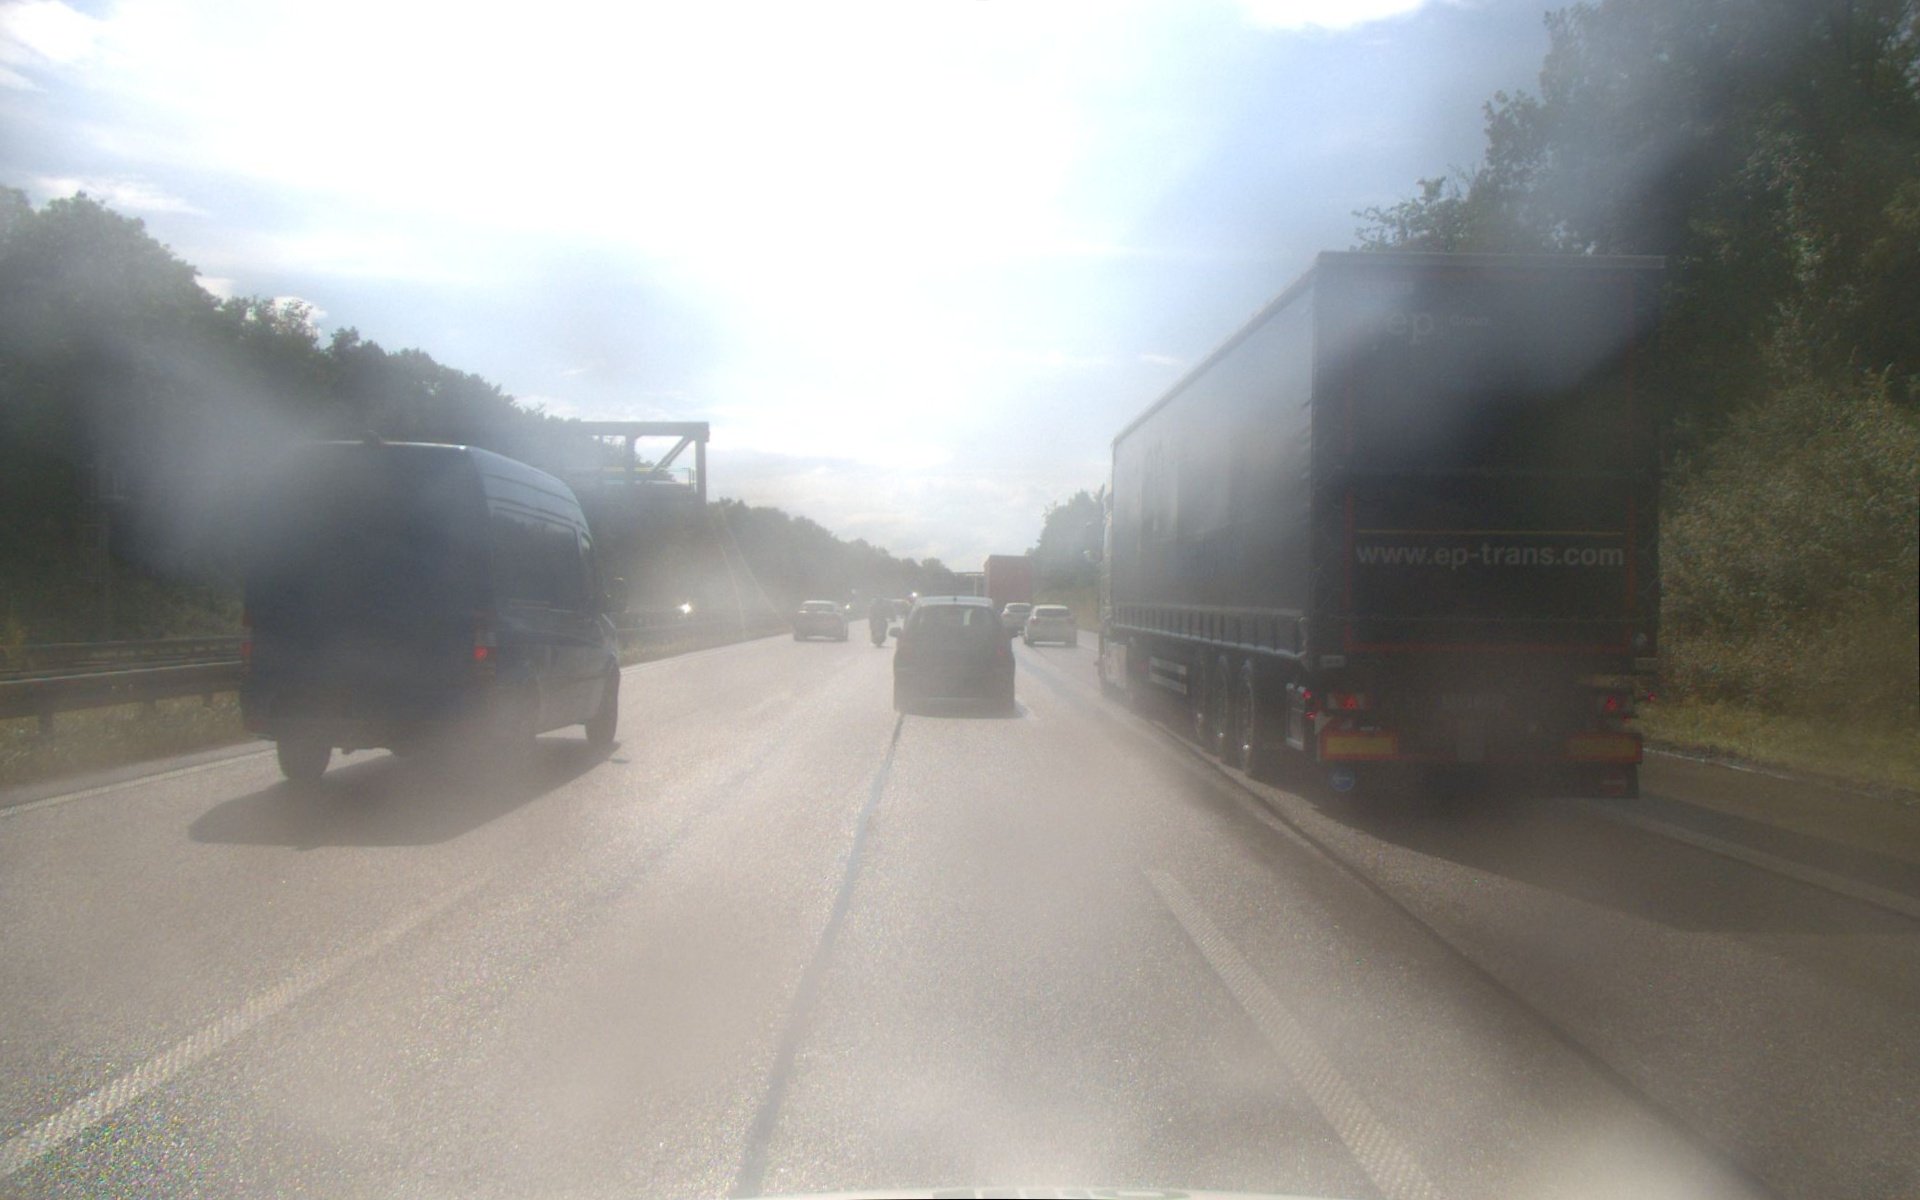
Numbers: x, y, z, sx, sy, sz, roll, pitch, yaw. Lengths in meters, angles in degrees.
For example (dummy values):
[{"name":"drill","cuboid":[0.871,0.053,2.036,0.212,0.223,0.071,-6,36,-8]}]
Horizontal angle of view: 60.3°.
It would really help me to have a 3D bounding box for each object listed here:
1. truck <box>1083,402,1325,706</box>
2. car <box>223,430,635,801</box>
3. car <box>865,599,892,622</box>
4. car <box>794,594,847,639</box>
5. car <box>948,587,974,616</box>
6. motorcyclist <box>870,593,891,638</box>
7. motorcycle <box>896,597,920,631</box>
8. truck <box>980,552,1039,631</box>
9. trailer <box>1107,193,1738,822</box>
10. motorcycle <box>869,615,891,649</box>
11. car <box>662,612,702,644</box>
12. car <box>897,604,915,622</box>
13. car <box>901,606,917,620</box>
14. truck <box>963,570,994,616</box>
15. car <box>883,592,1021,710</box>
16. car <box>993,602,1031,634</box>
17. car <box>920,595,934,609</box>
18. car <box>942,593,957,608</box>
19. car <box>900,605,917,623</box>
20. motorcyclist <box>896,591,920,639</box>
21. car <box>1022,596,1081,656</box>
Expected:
[{"name":"truck","cuboid":[3.795,-0.645,27.153,2.990,4.401,5.885,1,-1,-1]},{"name":"car","cuboid":[-4.451,0.123,15.011,1.975,2.695,5.775,1,0,-1]},{"name":"car","cuboid":[-5.954,0.763,121.717,1.854,1.656,4.193,1,0,-2]},{"name":"car","cuboid":[-5.207,0.611,62.265,1.723,1.622,4.329,1,0,-1]},{"name":"car","cuboid":[0.057,0.115,112.753,1.641,1.970,3.772,1,0,-2]},{"name":"motorcyclist","cuboid":[-2.644,0.504,54.890,0.657,1.467,1.019,1,-1,-5]},{"name":"motorcycle","cuboid":[-2.006,0.525,63.461,0.804,1.285,2.115,1,0,-5]},{"name":"truck","cuboid":[2.907,-0.459,99.565,3.137,4.481,9.430,1,0,-1]},{"name":"trailer","cuboid":[3.886,-0.630,18.690,3.025,4.388,14.102,1,0,-1]},{"name":"motorcycle","cuboid":[-2.652,1.051,54.944,0.662,1.106,1.980,1,0,-4]},{"name":"car","cuboid":[-18.554,1.864,110.673,1.953,2.049,4.731,1,-1,-1]},{"name":"car","cuboid":[-4.926,1.203,151.087,1.641,1.625,3.435,1,0,-2]},{"name":"car","cuboid":[-5.436,1.358,176.864,1.641,1.516,3.435,1,0,-2]},{"name":"truck","cuboid":[1.949,-0.711,179.774,2.823,4.770,12.655,1,-1,-1]},{"name":"car","cuboid":[-0.158,0.703,24.801,1.876,1.592,4.312,1,0,-2]},{"name":"car","cuboid":[2.473,0.850,79.661,1.641,1.516,3.435,1,0,-2]},{"name":"car","cuboid":[-4.839,0.317,239.973,1.953,2.049,3.999,1,-1,-2]},{"name":"car","cuboid":[-1.118,0.067,174.958,1.599,1.516,3.435,1,0,-2]},{"name":"car","cuboid":[-6.087,1.654,196.701,1.953,2.049,3.999,1,-1,-2]},{"name":"motorcyclist","cuboid":[-2.007,0.566,63.436,0.805,1.791,1.389,1,-1,-5]},{"name":"car","cuboid":[3.236,0.901,59.301,1.811,2.049,4.086,1,-1,-1]}]
